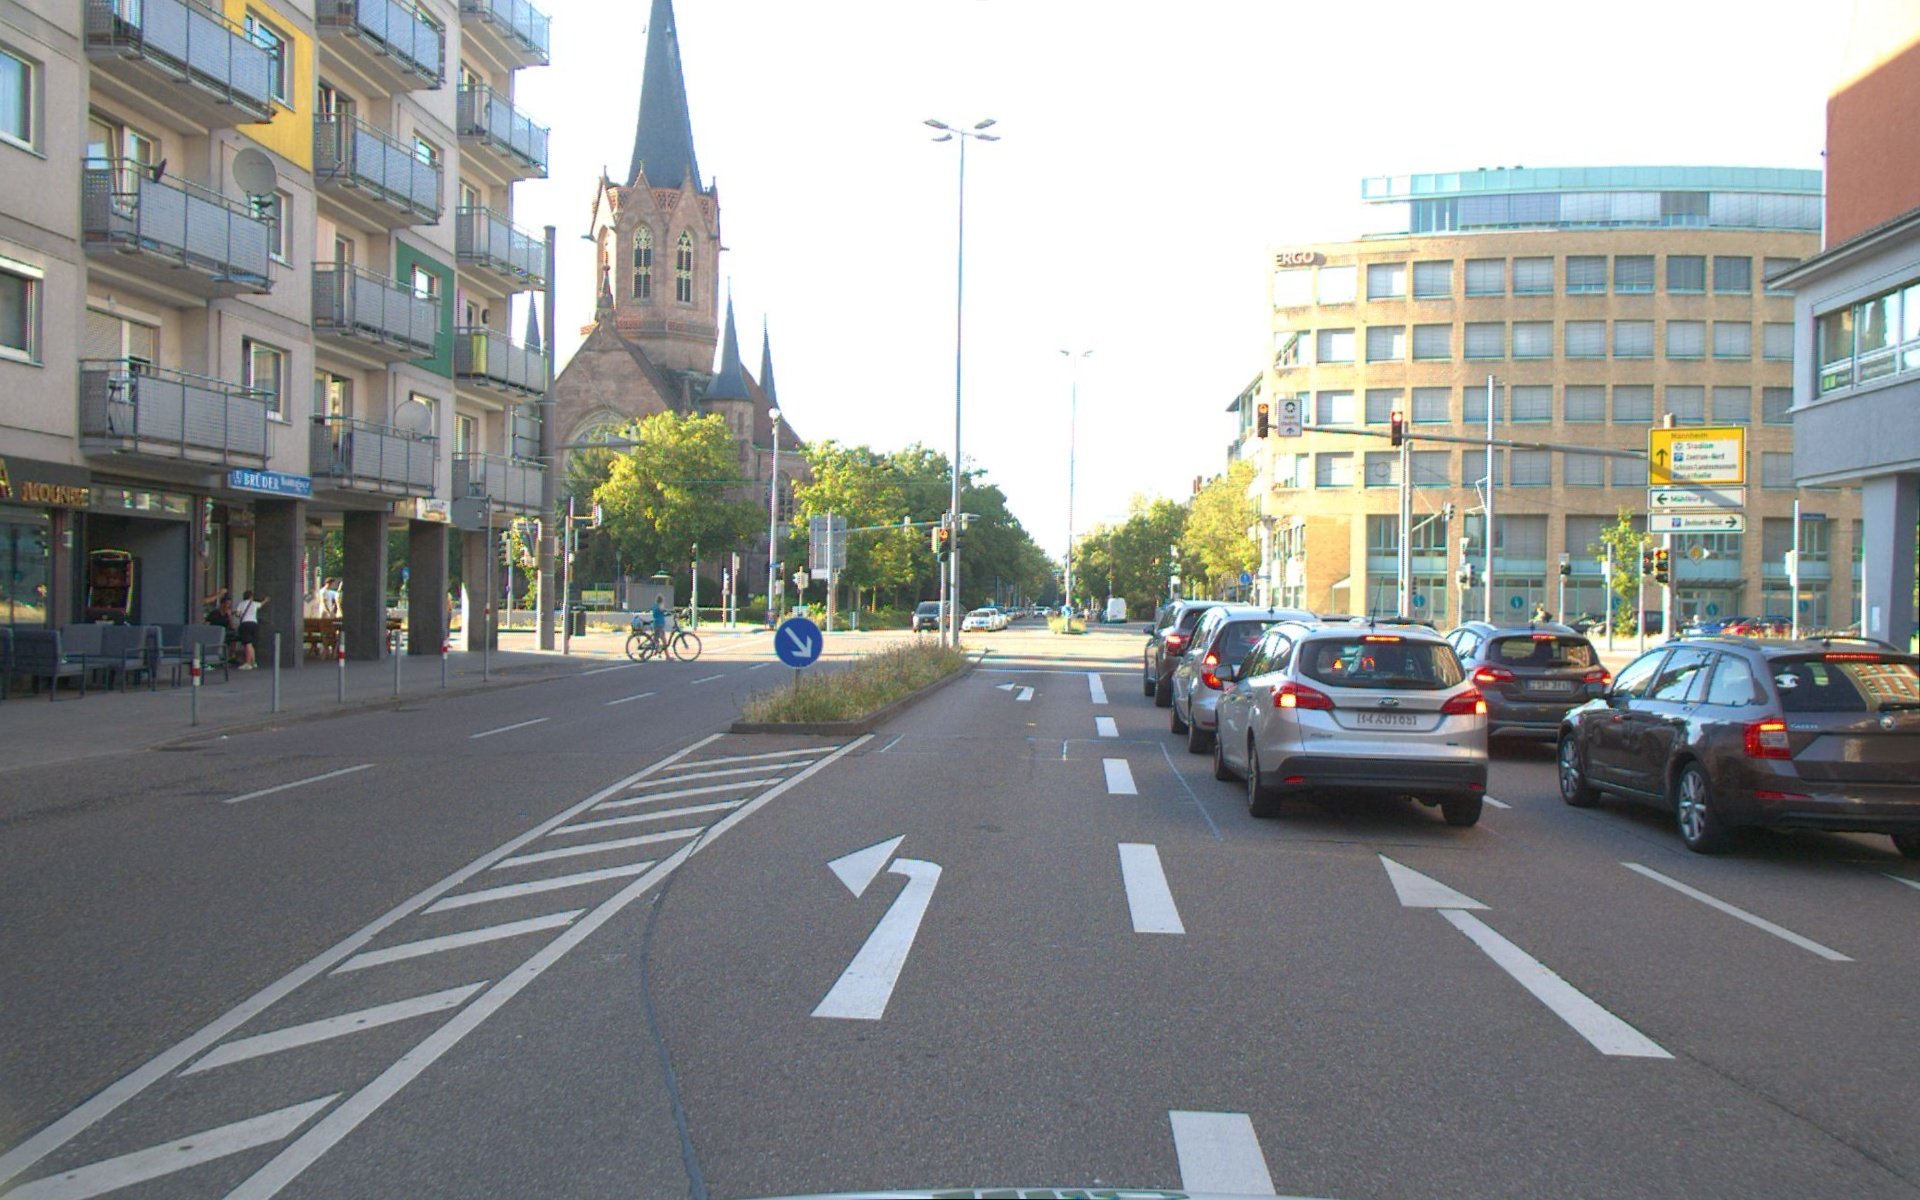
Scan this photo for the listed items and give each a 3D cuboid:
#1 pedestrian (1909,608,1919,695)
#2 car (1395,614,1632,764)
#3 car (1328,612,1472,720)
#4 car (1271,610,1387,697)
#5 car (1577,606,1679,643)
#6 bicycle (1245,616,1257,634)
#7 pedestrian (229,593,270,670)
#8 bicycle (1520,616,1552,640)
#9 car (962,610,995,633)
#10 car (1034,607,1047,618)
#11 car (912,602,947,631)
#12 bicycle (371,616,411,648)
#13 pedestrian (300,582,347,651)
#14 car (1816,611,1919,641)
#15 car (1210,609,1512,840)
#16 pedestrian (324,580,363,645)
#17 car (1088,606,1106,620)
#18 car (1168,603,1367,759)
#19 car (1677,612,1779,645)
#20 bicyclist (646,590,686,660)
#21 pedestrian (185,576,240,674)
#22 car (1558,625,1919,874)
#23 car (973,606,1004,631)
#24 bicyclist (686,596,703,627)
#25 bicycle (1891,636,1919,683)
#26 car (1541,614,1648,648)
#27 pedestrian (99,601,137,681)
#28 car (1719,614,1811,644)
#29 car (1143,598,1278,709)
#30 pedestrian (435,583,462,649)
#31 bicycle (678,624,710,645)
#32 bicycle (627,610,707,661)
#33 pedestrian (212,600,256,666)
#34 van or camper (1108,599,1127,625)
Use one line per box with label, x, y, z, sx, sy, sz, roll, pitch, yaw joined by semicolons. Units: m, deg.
pedestrian;20.350;1.072;34.324;0.924;1.799;0.670;1;0;8
car;6.468;0.964;19.803;1.616;1.510;4.241;2;0;4
car;6.847;0.982;26.011;1.458;1.532;3.480;1;0;2
car;6.927;0.969;31.334;1.551;1.472;3.649;2;0;3
car;31.899;1.164;79.091;4.139;1.642;2.001;1;0;5
bicycle;20.171;1.723;114.779;0.757;1.216;2.467;1;0;11
pedestrian;-13.076;0.578;30.439;0.474;1.408;0.481;1;0;24
bicycle;29.404;1.440;84.466;1.487;1.193;0.475;1;0;10
car;1.118;1.254;98.297;1.742;1.258;4.002;1;0;4
car;11.366;1.810;234.198;1.742;1.474;4.002;1;0;4
car;-1.805;0.957;99.033;1.742;1.676;4.002;1;0;4
bicycle;-16.277;0.910;47.350;0.486;0.854;1.704;1;0;3
pedestrian;-16.892;0.434;43.890;0.903;1.789;0.675;1;0;12
car;43.133;1.221;78.577;3.904;1.370;2.000;1;0;2
car;3.136;0.879;13.748;1.672;1.536;4.311;2;0;3
pedestrian;-16.690;0.327;44.773;0.737;1.739;0.675;1;0;12
car;17.277;1.617;208.144;1.952;1.620;4.000;1;0;0
car;3.439;0.850;19.109;1.766;1.596;3.619;1;0;2
car;37.911;1.386;81.705;4.141;1.528;2.000;1;0;0
bicyclist;-7.271;0.609;40.917;0.766;1.689;0.901;1;0;2
pedestrian;-13.462;0.439;29.790;0.773;1.731;0.551;1;0;-43
car;5.975;0.971;12.429;1.672;1.483;4.160;1;0;3
car;1.811;1.147;104.844;1.742;1.490;4.002;1;0;4
bicyclist;-14.783;0.628;92.154;0.763;1.724;0.641;1;0;11
bicycle;24.258;1.469;40.917;2.042;1.136;0.743;0;0;2
car;31.571;1.531;82.406;4.551;1.626;2.000;1;0;1
pedestrian;-13.232;0.640;25.999;0.515;1.224;0.547;1;0;-28
car;38.216;1.363;78.533;3.532;1.366;1.722;1;0;4
car;4.040;0.809;27.326;1.746;1.661;4.480;1;0;3
pedestrian;-14.215;0.442;45.971;0.540;1.800;0.470;1;0;5
bicycle;-14.833;1.916;92.145;1.639;1.159;0.648;1;0;12
bicycle;-7.187;0.864;40.589;1.789;1.209;0.734;1;0;2
pedestrian;-13.981;0.627;31.853;0.544;1.261;0.531;1;0;18
van or camper;16.831;1.290;177.008;1.951;2.687;5.353;1;0;5
